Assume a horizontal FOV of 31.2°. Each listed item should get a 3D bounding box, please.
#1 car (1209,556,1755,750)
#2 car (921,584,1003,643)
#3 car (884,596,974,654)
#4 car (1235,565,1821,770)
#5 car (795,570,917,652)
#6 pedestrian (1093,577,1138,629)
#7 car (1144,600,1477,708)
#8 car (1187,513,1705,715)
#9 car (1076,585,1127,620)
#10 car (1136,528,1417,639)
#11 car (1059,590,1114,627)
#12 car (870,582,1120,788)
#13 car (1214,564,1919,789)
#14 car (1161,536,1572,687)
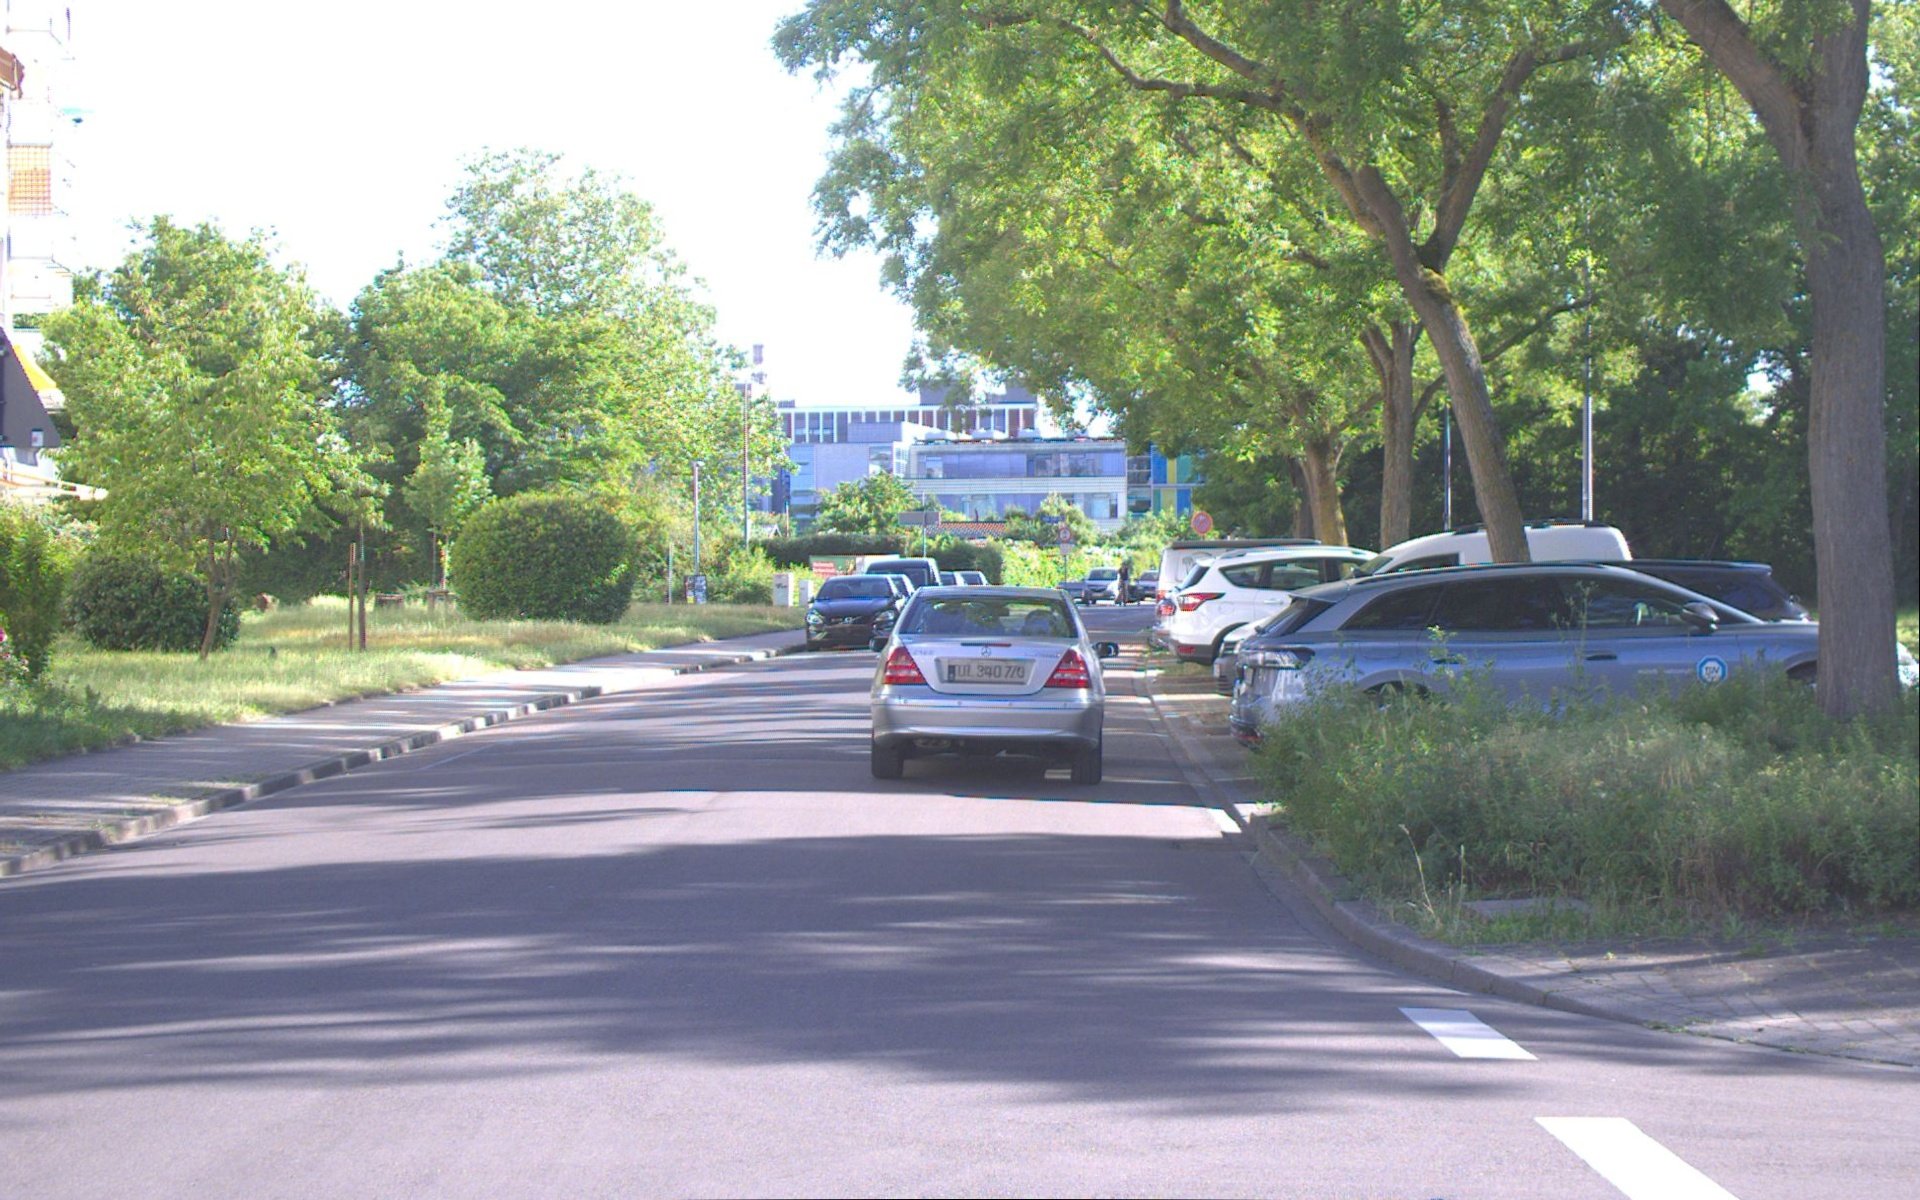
[{"bbox_3d":[4.505,0.444,30.207,4.444,1.512,2.000,-2,0,0],"label":"car"},{"bbox_3d":[0.074,0.360,92.818,1.750,1.515,4.192,-1,0,6],"label":"car"},{"bbox_3d":[-0.757,0.613,86.290,1.750,1.325,3.449,-3,0,7],"label":"car"},{"bbox_3d":[4.452,0.518,27.439,4.427,1.566,1.737,0,0,3],"label":"car"},{"bbox_3d":[-2.012,0.205,67.690,1.913,1.485,3.836,-3,0,5],"label":"car"},{"bbox_3d":[6.250,0.104,138.496,1.575,2.082,1.723,0,0,11],"label":"pedestrian"},{"bbox_3d":[5.327,0.811,52.711,4.884,1.622,2.000,0,0,-1],"label":"car"},{"bbox_3d":[4.892,0.128,35.037,4.883,1.917,2.000,-1,0,-5],"label":"car"},{"bbox_3d":[6.218,0.099,150.950,1.894,1.497,3.655,0,0,8],"label":"car"},{"bbox_3d":[5.962,-0.309,65.073,5.218,2.052,2.000,0,0,4],"label":"car"},{"bbox_3d":[5.263,0.354,142.714,1.894,1.497,3.655,0,0,8],"label":"car"},{"bbox_3d":[0.256,0.603,25.637,1.733,1.429,3.438,0,0,1],"label":"car"},{"bbox_3d":[4.318,0.526,24.961,4.782,1.544,2.011,0,0,0],"label":"car"},{"bbox_3d":[4.955,0.137,42.486,4.885,1.718,2.000,-1,0,3],"label":"car"}]
